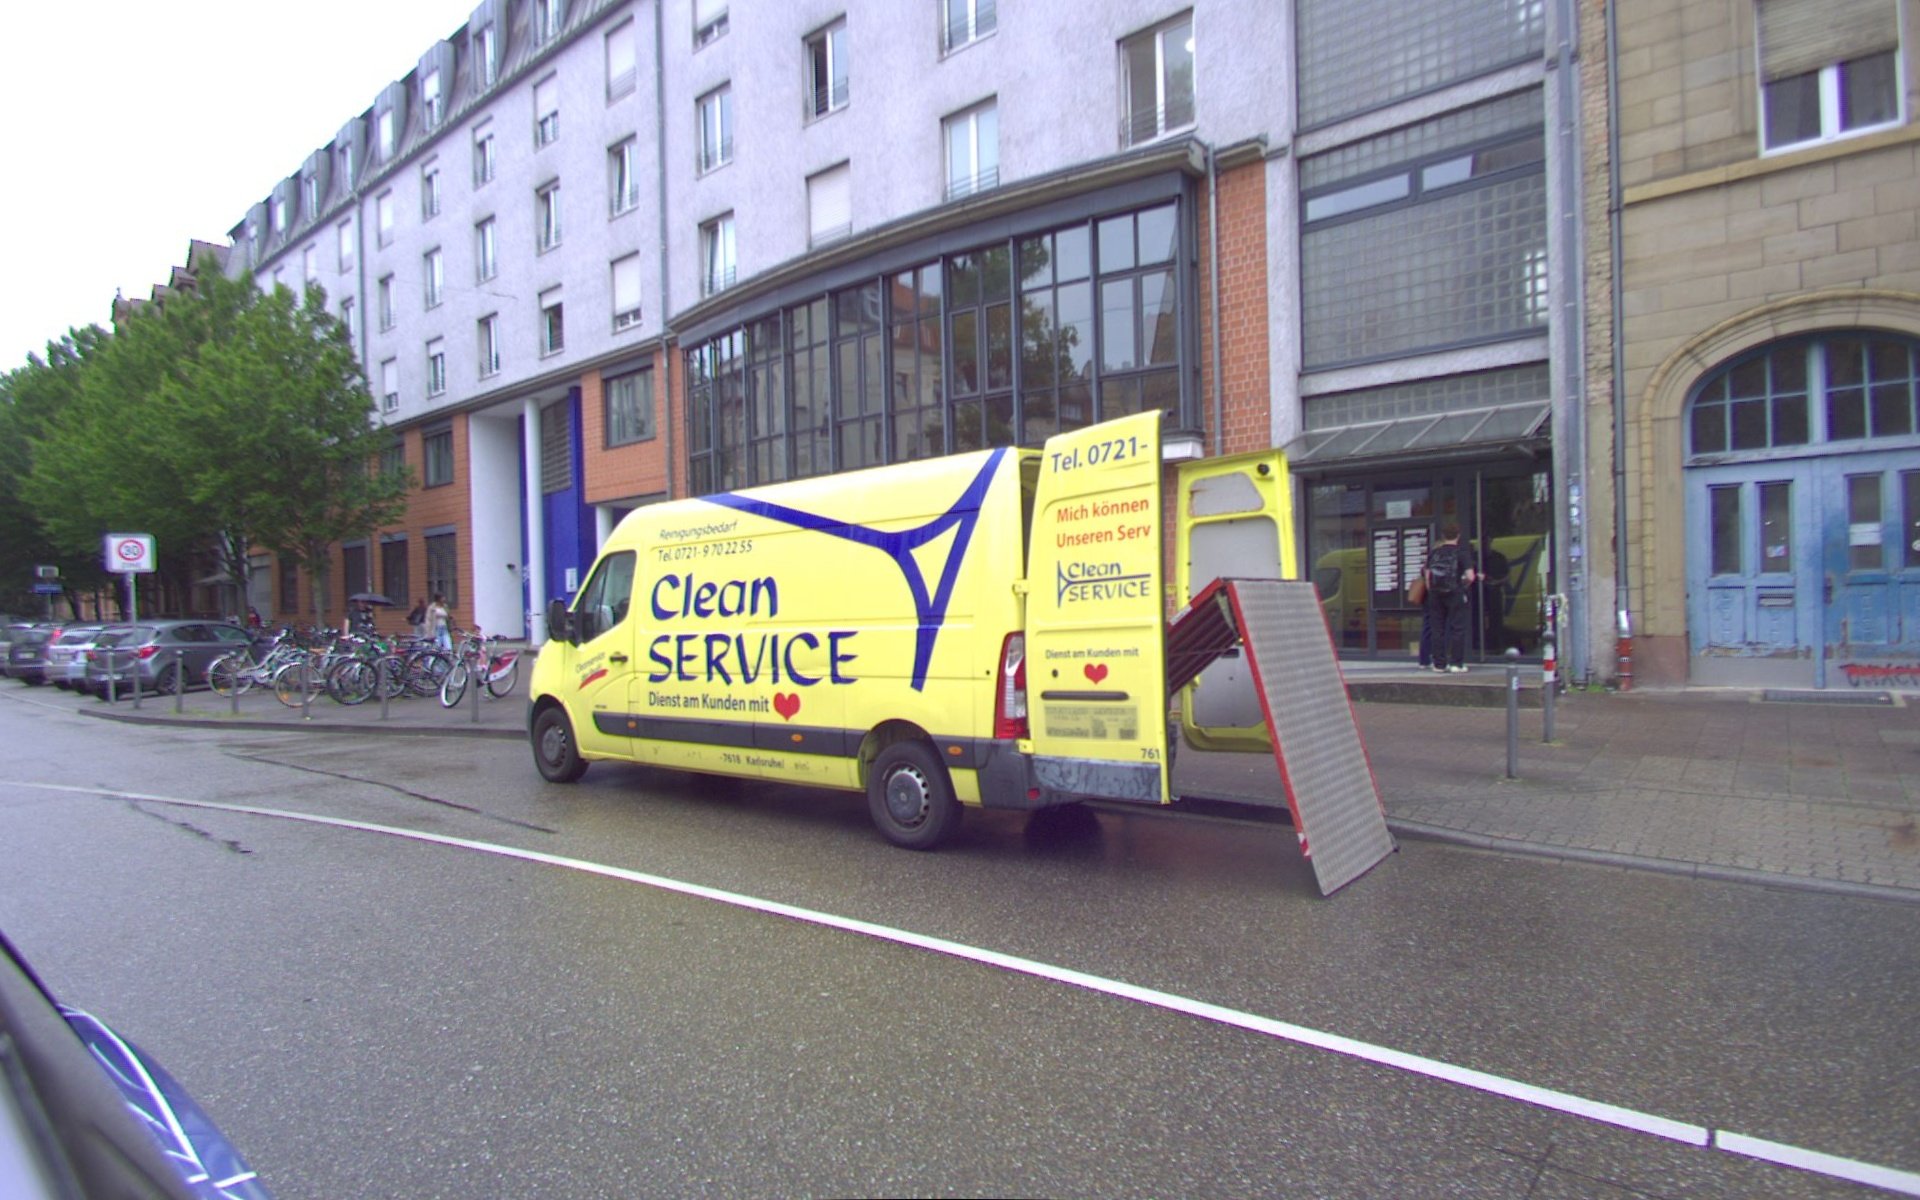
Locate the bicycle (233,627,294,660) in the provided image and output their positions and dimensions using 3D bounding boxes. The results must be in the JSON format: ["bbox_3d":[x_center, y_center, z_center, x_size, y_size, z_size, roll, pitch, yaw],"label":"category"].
[{"bbox_3d":[-22.546,1.402,32.774,0.464,0.992,1.573,-2,-1,32],"label":"bicycle"}]

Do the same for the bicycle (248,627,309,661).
[{"bbox_3d":[-21.595,1.386,32.094,0.444,0.992,1.573,-2,-1,32],"label":"bicycle"}]

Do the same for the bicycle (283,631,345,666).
[{"bbox_3d":[-19.825,1.477,31.095,0.444,0.992,1.573,-2,-1,32],"label":"bicycle"}]

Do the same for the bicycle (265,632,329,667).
[{"bbox_3d":[-19.816,1.467,30.269,0.444,0.992,1.573,-2,-1,32],"label":"bicycle"}]

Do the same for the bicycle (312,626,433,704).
[{"bbox_3d":[-10.179,1.094,17.614,0.518,1.203,1.798,-2,1,27],"label":"bicycle"}]

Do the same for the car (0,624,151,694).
[{"bbox_3d":[-22.700,1.453,25.925,1.432,1.564,3.078,-2,0,0],"label":"car"}]

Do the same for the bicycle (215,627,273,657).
[{"bbox_3d":[-24.783,1.447,35.035,0.464,0.992,1.573,-2,-1,32],"label":"bicycle"}]

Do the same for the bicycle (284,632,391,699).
[{"bbox_3d":[-11.591,1.197,18.879,0.519,1.114,1.591,-2,1,36],"label":"bicycle"}]

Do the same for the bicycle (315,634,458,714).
[{"bbox_3d":[-8.921,1.124,15.793,1.832,1.081,0.610,-3,1,-44],"label":"bicycle"}]

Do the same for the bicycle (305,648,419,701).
[{"bbox_3d":[-10.606,1.306,18.014,0.455,0.767,1.756,-2,1,27],"label":"bicycle"}]

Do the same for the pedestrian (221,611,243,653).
[{"bbox_3d":[-28.332,1.250,39.387,0.372,1.622,0.598,-2,-1,39],"label":"pedestrian"}]

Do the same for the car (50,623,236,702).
[{"bbox_3d":[-18.214,1.343,22.724,1.436,1.514,3.070,-2,0,9],"label":"car"}]

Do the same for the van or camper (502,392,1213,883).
[{"bbox_3d":[-1.208,0.276,8.177,5.937,2.631,2.174,-2,-2,40],"label":"van or camper"}]

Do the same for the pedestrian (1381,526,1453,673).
[{"bbox_3d":[5.627,-0.004,12.473,0.467,1.761,0.608,0,-1,-23],"label":"pedestrian"}]

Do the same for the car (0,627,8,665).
[{"bbox_3d":[-47.700,2.239,47.727,1.554,1.846,4.329,-1,-1,0],"label":"car"}]

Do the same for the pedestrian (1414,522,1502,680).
[{"bbox_3d":[5.826,0.018,11.826,0.785,1.741,0.997,-2,-1,32],"label":"pedestrian"}]

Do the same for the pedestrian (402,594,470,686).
[{"bbox_3d":[-10.469,0.789,20.225,0.859,1.719,0.817,-2,3,42],"label":"pedestrian"}]

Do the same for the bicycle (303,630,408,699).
[{"bbox_3d":[-11.040,1.158,18.524,0.518,1.114,1.596,-2,1,27],"label":"bicycle"}]

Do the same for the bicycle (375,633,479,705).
[{"bbox_3d":[-8.791,1.115,16.723,0.418,1.072,1.442,-1,1,44],"label":"bicycle"}]

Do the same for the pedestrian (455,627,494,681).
[{"bbox_3d":[-10.095,1.110,21.039,0.527,1.058,0.479,-2,3,40],"label":"pedestrian"}]

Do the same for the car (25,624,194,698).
[{"bbox_3d":[-20.299,1.414,24.297,1.432,1.514,3.078,-2,0,0],"label":"car"}]

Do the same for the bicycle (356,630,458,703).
[{"bbox_3d":[-9.393,1.112,17.209,1.439,1.111,0.462,-2,1,-35],"label":"bicycle"}]

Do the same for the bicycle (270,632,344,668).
[{"bbox_3d":[-19.377,1.461,30.053,0.444,0.992,1.830,-2,-1,32],"label":"bicycle"}]

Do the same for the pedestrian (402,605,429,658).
[{"bbox_3d":[-15.941,0.927,29.615,0.547,1.541,0.509,-2,-2,38],"label":"pedestrian"}]

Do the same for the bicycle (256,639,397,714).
[{"bbox_3d":[-9.923,1.168,15.908,0.519,1.000,1.778,-2,1,38],"label":"bicycle"}]

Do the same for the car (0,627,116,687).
[{"bbox_3d":[-25.085,1.550,28.105,1.177,1.461,2.502,-2,0,0],"label":"car"}]

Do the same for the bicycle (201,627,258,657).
[{"bbox_3d":[-25.732,1.460,35.670,0.464,0.992,1.573,-2,-1,32],"label":"bicycle"}]

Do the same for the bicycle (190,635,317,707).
[{"bbox_3d":[-12.730,1.255,18.290,0.472,1.114,1.791,-2,1,36],"label":"bicycle"}]

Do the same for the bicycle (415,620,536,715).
[{"bbox_3d":[-7.353,0.990,15.482,0.760,1.225,1.917,-1,3,6],"label":"bicycle"}]

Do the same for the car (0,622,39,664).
[{"bbox_3d":[-44.692,1.957,46.072,1.666,1.910,4.329,-1,-1,0],"label":"car"}]

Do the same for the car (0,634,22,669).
[{"bbox_3d":[-41.871,2.218,42.626,1.663,1.502,3.798,-1,-1,-9],"label":"car"}]

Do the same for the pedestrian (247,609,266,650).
[{"bbox_3d":[-27.747,1.167,39.911,0.425,1.622,0.508,-2,-1,42],"label":"pedestrian"}]

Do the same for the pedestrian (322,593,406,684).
[{"bbox_3d":[-13.435,0.840,22.832,1.055,1.894,1.213,-2,3,40],"label":"pedestrian"}]

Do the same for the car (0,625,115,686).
[{"bbox_3d":[-26.941,1.608,29.791,1.358,1.567,2.970,-2,0,12],"label":"car"}]

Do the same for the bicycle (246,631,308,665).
[{"bbox_3d":[-21.261,1.491,31.524,0.444,0.992,1.573,-2,-1,32],"label":"bicycle"}]

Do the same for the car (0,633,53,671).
[{"bbox_3d":[-39.621,2.131,41.639,1.663,1.502,3.798,-1,-1,-9],"label":"car"}]

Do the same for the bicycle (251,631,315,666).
[{"bbox_3d":[-20.692,1.482,30.971,0.444,0.992,1.573,-2,-1,32],"label":"bicycle"}]

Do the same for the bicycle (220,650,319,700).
[{"bbox_3d":[-13.154,1.413,19.301,0.497,0.811,1.454,-1,1,43],"label":"bicycle"}]

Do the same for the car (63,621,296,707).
[{"bbox_3d":[-15.934,1.252,20.893,1.721,1.514,3.613,-1,0,9],"label":"car"}]

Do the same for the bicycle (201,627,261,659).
[{"bbox_3d":[-24.484,1.435,34.006,0.464,0.992,1.573,-2,-1,32],"label":"bicycle"}]

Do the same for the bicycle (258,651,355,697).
[{"bbox_3d":[-12.446,1.403,19.309,0.497,0.727,1.454,-1,1,43],"label":"bicycle"}]

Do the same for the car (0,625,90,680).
[{"bbox_3d":[-29.034,1.625,31.585,1.138,1.567,2.672,-2,0,11],"label":"car"}]
